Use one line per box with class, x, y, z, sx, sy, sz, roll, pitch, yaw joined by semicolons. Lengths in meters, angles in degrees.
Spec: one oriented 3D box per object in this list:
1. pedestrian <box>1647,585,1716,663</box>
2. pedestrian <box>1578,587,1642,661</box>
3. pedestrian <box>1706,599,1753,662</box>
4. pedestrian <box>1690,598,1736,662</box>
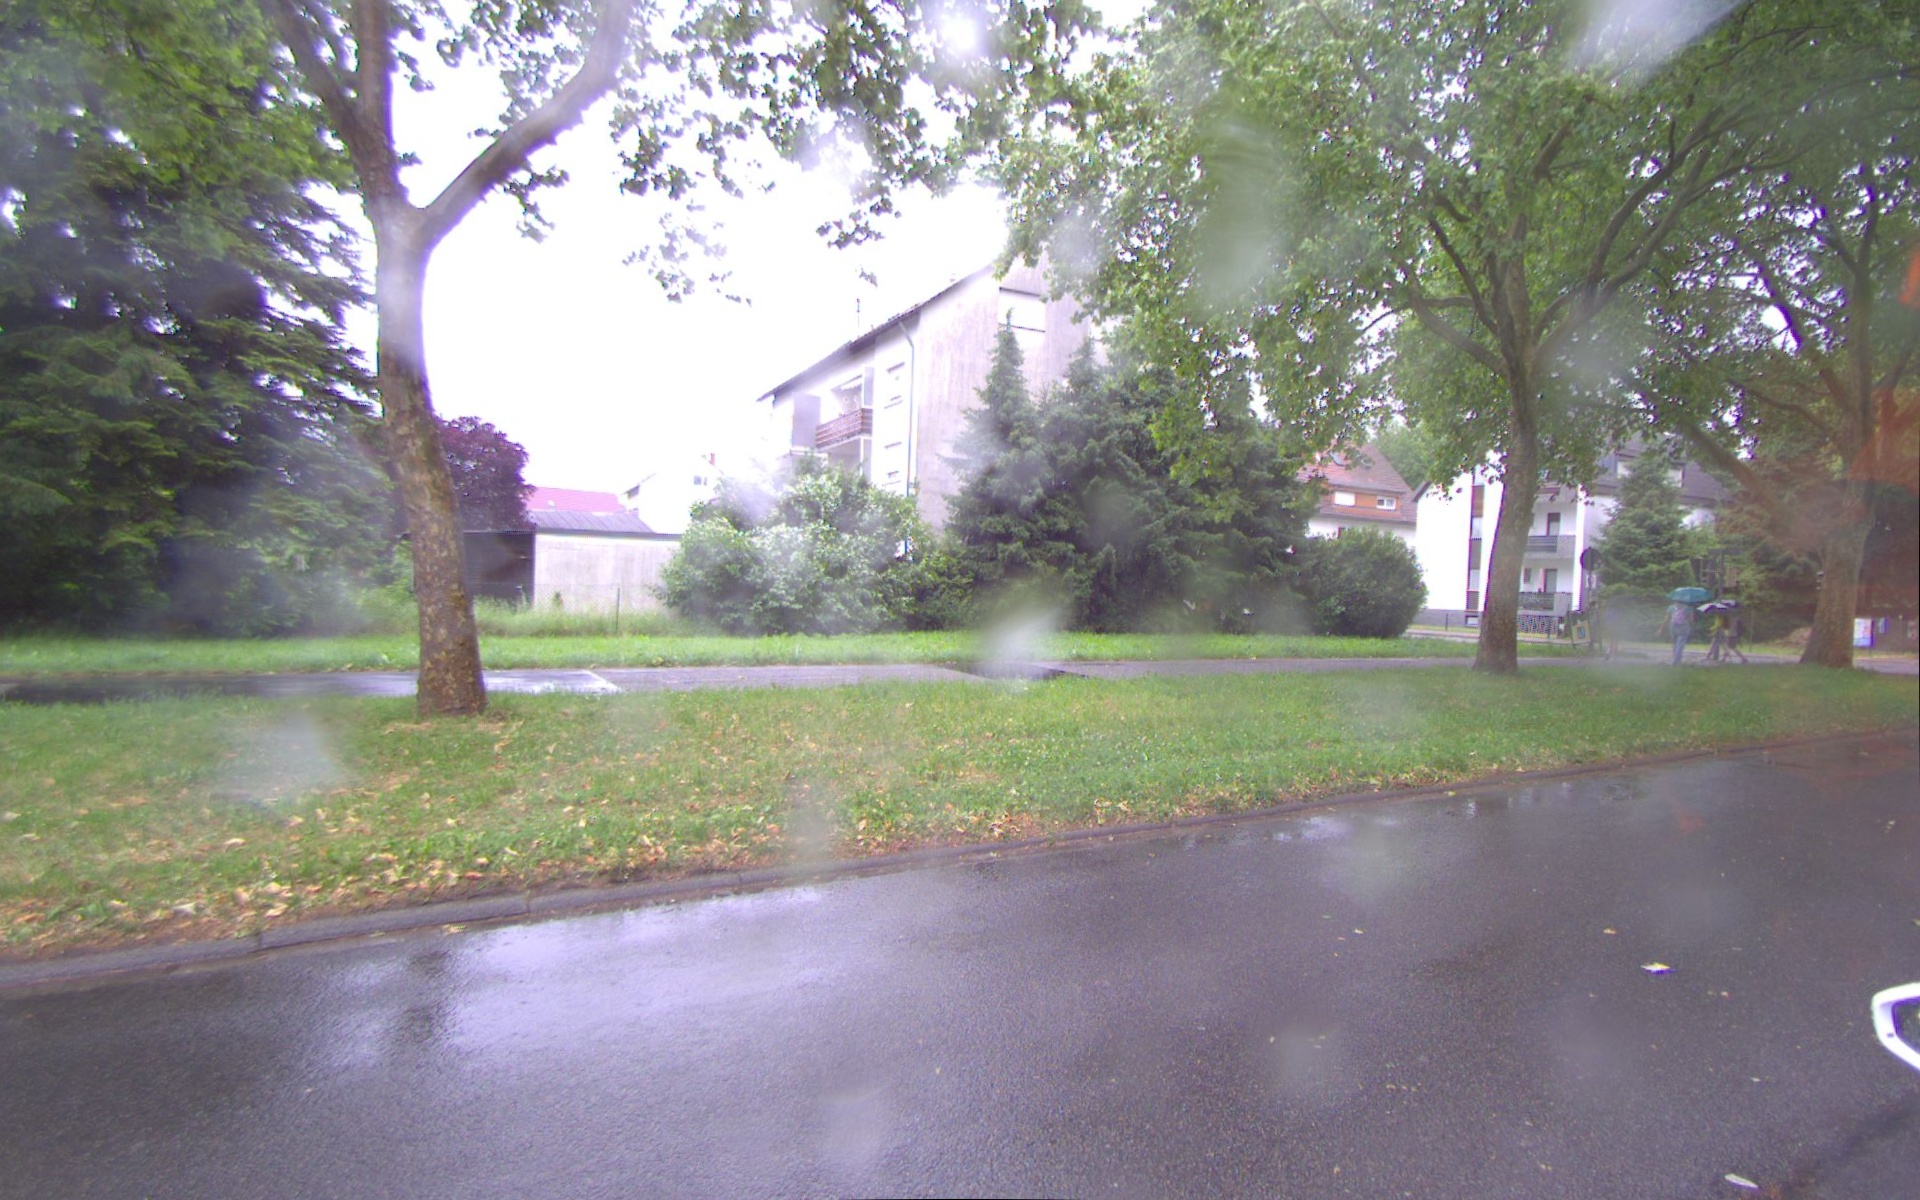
pedestrian;16.922;0.547;23.569;0.828;1.789;1.028;1;1;-30
pedestrian;16.093;0.583;24.885;0.869;1.789;1.028;1;1;-30
pedestrian;22.375;0.871;29.206;0.633;1.768;0.854;1;1;-33
pedestrian;21.327;0.836;28.470;0.633;1.768;0.815;1;1;-33
